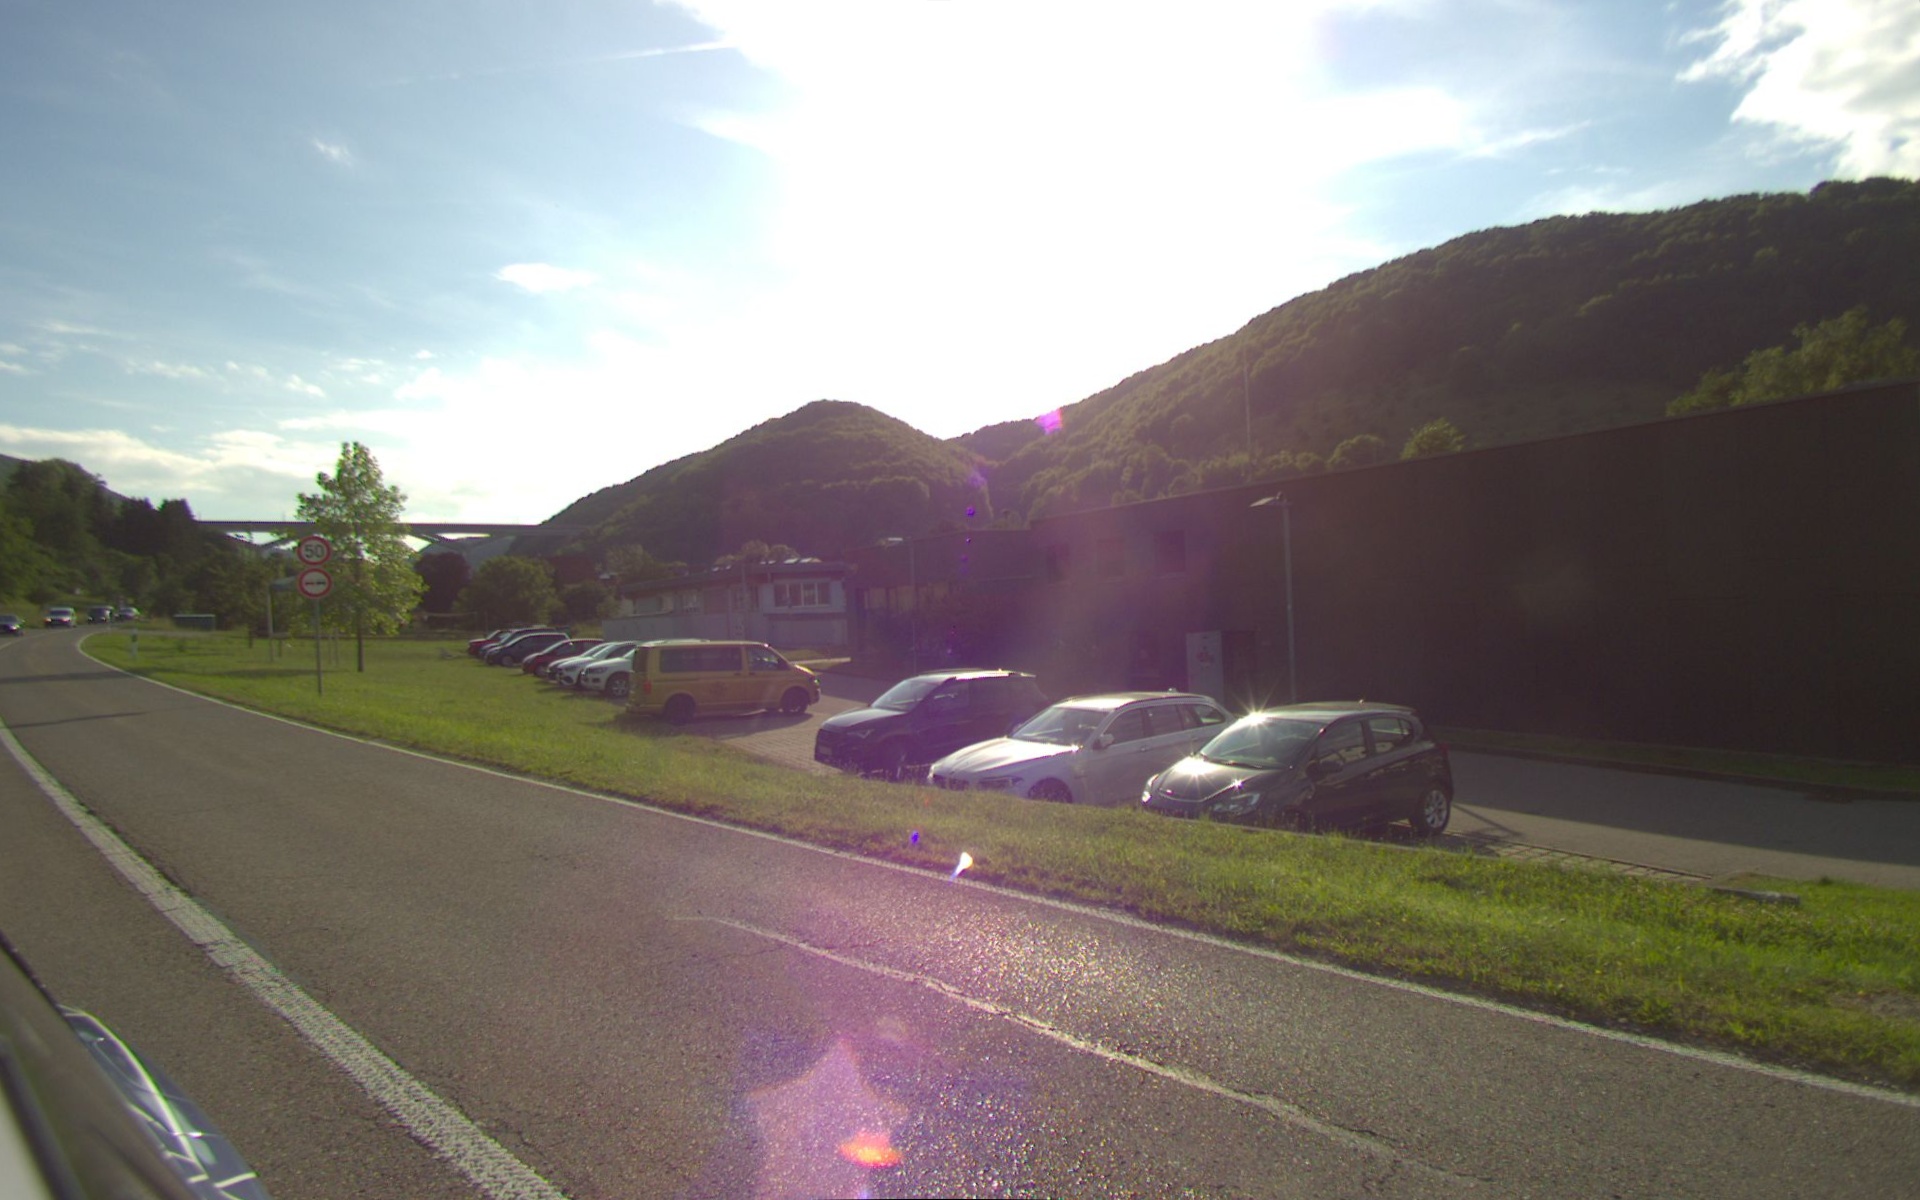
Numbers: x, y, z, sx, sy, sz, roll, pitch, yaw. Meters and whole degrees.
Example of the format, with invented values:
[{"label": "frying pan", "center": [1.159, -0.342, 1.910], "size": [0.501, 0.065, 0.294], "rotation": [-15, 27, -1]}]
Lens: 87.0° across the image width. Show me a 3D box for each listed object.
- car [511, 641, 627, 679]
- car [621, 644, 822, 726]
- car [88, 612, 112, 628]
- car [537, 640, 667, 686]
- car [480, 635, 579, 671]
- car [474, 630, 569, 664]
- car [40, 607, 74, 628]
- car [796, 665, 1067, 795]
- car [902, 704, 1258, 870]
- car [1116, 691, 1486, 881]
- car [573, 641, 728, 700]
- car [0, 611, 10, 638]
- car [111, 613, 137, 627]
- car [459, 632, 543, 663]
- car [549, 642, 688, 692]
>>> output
[{"label": "car", "center": [-16.601, 2.505, 43.006], "size": [4.370, 1.463, 2.006], "rotation": [0, -2, -30]}, {"label": "car", "center": [-6.036, 2.075, 25.689], "size": [4.583, 1.827, 2.006], "rotation": [0, -2, -30]}, {"label": "car", "center": [-93.975, 2.234, 110.618], "size": [1.652, 1.659, 3.354], "rotation": [0, -1, -34]}, {"label": "car", "center": [-13.723, 2.387, 38.857], "size": [4.371, 1.595, 2.006], "rotation": [1, -2, -32]}, {"label": "car", "center": [-21.951, 2.665, 51.631], "size": [4.371, 1.595, 2.006], "rotation": [-1, -1, -31]}, {"label": "car", "center": [-24.197, 2.543, 55.903], "size": [4.595, 1.776, 2.006], "rotation": [0, -2, -31]}, {"label": "car", "center": [-81.394, 1.578, 91.260], "size": [1.770, 1.749, 4.294], "rotation": [-1, -1, -34]}, {"label": "car", "center": [-0.429, 2.084, 17.202], "size": [4.226, 1.650, 1.917], "rotation": [-2, -1, -35]}, {"label": "car", "center": [1.683, 2.315, 13.464], "size": [4.577, 1.508, 1.918], "rotation": [1, -2, -34]}, {"label": "car", "center": [3.886, 1.925, 11.427], "size": [3.932, 1.546, 1.839], "rotation": [0, -2, -31]}, {"label": "car", "center": [-10.075, 2.243, 33.017], "size": [4.477, 1.714, 2.006], "rotation": [0, -2, -30]}, {"label": "car", "center": [-63.967, 1.649, 66.594], "size": [1.884, 1.698, 4.007], "rotation": [0, -2, -40]}, {"label": "car", "center": [-102.533, 2.476, 124.176], "size": [1.966, 1.730, 4.011], "rotation": [0, -1, -33]}, {"label": "car", "center": [-27.303, 2.780, 60.239], "size": [4.371, 1.733, 2.006], "rotation": [0, -2, -31]}, {"label": "car", "center": [-12.098, 2.338, 35.889], "size": [4.370, 1.599, 2.006], "rotation": [0, -2, -30]}]
